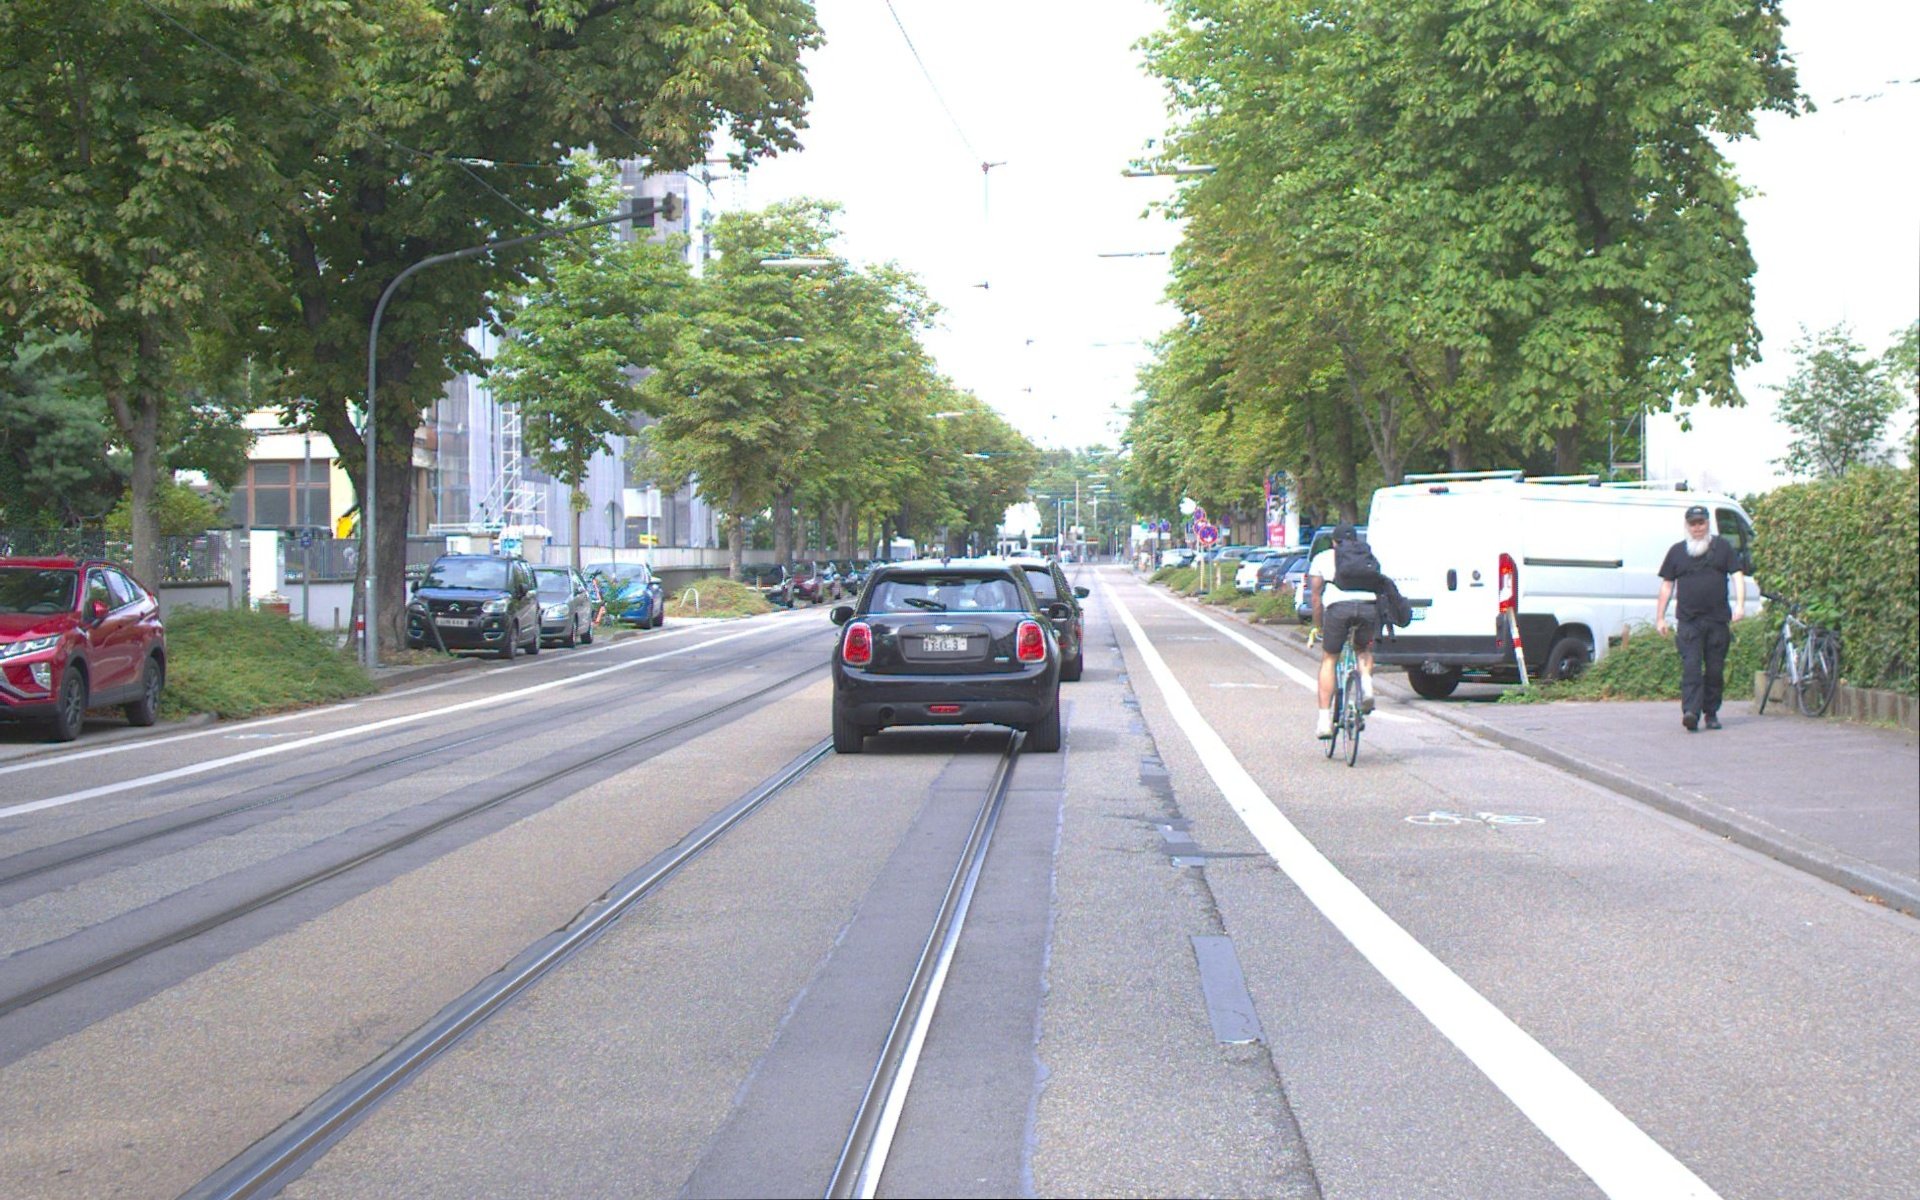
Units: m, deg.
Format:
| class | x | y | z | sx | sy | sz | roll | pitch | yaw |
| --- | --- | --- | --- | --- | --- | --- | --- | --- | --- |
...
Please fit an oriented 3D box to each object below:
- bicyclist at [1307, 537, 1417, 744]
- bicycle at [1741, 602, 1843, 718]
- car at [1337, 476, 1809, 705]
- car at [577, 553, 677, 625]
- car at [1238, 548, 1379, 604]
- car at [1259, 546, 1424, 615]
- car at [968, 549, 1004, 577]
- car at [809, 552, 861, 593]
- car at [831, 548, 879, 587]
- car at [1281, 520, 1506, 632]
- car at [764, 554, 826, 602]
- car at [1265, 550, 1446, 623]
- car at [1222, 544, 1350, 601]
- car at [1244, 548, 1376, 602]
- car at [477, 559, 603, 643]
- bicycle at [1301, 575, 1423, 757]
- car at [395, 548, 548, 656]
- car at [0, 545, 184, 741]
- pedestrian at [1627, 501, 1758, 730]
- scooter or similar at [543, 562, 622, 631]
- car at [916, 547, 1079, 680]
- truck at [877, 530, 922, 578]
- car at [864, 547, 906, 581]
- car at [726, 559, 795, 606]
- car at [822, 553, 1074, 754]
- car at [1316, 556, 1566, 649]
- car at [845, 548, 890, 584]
| class | x | y | z | sx | sy | sz | roll | pitch | yaw |
| --- | --- | --- | --- | --- | --- | --- | --- | --- | --- |
| bicyclist | 2.901 | 0.277 | 24.871 | 0.657 | 1.458 | 1.178 | 1 | 1 | 1 |
| bicycle | 6.851 | 0.477 | 28.361 | 0.386 | 0.904 | 1.842 | -1 | 0 | 0 |
| car | 6.609 | -0.118 | 36.819 | 4.945 | 2.282 | 2.384 | 0 | 1 | -41 |
| car | -7.092 | -0.253 | 73.475 | 1.693 | 1.482 | 3.677 | 1 | 1 | 1 |
| car | 9.188 | -0.648 | 90.566 | 3.524 | 1.437 | 1.623 | -1 | 1 | -36 |
| car | 8.573 | -0.438 | 77.090 | 3.729 | 1.517 | 1.640 | 0 | 1 | -43 |
| car | 1.419 | -1.998 | 185.181 | 1.835 | 1.443 | 4.553 | 0 | 1 | 1 |
| car | -4.971 | -1.100 | 137.438 | 1.802 | 1.578 | 4.031 | -1 | 1 | 1 |
| car | -4.480 | -1.399 | 147.488 | 1.802 | 1.578 | 4.031 | -1 | 1 | 1 |
| car | 8.094 | -0.446 | 63.964 | 4.264 | 2.008 | 1.830 | 0 | 1 | -43 |
| car | -5.647 | -0.775 | 117.847 | 1.802 | 1.578 | 4.031 | -1 | 1 | 1 |
| car | 8.098 | -0.283 | 70.165 | 3.819 | 1.455 | 1.639 | 0 | 1 | -45 |
| car | 9.182 | -0.795 | 96.704 | 3.437 | 1.567 | 1.560 | -1 | 1 | -36 |
| car | 9.539 | -0.706 | 93.678 | 3.437 | 1.437 | 1.560 | -1 | 1 | -36 |
| car | -7.501 | -0.010 | 61.713 | 1.693 | 1.422 | 3.868 | 1 | 1 | 1 |
| bicycle | 2.905 | 0.452 | 24.994 | 0.657 | 1.244 | 2.125 | 1 | 1 | 1 |
| car | -7.745 | 0.005 | 54.820 | 1.756 | 1.641 | 4.052 | 1 | 1 | 1 |
| car | -8.707 | 0.338 | 32.203 | 1.721 | 1.649 | 4.542 | 2 | 1 | 1 |
| pedestrian | 5.727 | 0.114 | 26.921 | 0.785 | 1.727 | 0.896 | -3 | 1 | 2 |
| scooter or similar | -7.600 | -0.072 | 69.316 | 1.444 | 1.339 | 0.700 | -1 | 1 | 4 |
| car | 0.404 | 0.123 | 41.128 | 1.793 | 1.465 | 4.000 | 1 | 1 | -1 |
| truck | -3.173 | -2.412 | 181.087 | 2.071 | 2.462 | 4.899 | -1 | 1 | 1 |
| car | -3.663 | -1.759 | 168.006 | 1.802 | 1.578 | 4.031 | -1 | 1 | 1 |
| car | -6.202 | -0.557 | 107.244 | 1.802 | 1.369 | 4.031 | -1 | 1 | 1 |
| car | -0.096 | 0.360 | 26.622 | 1.793 | 1.418 | 4.000 | 0 | 1 | 0 |
| car | 7.611 | 0.020 | 54.263 | 3.964 | 1.428 | 1.689 | 0 | 1 | -40 |
| car | -4.184 | -1.556 | 156.613 | 1.802 | 1.578 | 4.031 | -1 | 1 | 1 |
